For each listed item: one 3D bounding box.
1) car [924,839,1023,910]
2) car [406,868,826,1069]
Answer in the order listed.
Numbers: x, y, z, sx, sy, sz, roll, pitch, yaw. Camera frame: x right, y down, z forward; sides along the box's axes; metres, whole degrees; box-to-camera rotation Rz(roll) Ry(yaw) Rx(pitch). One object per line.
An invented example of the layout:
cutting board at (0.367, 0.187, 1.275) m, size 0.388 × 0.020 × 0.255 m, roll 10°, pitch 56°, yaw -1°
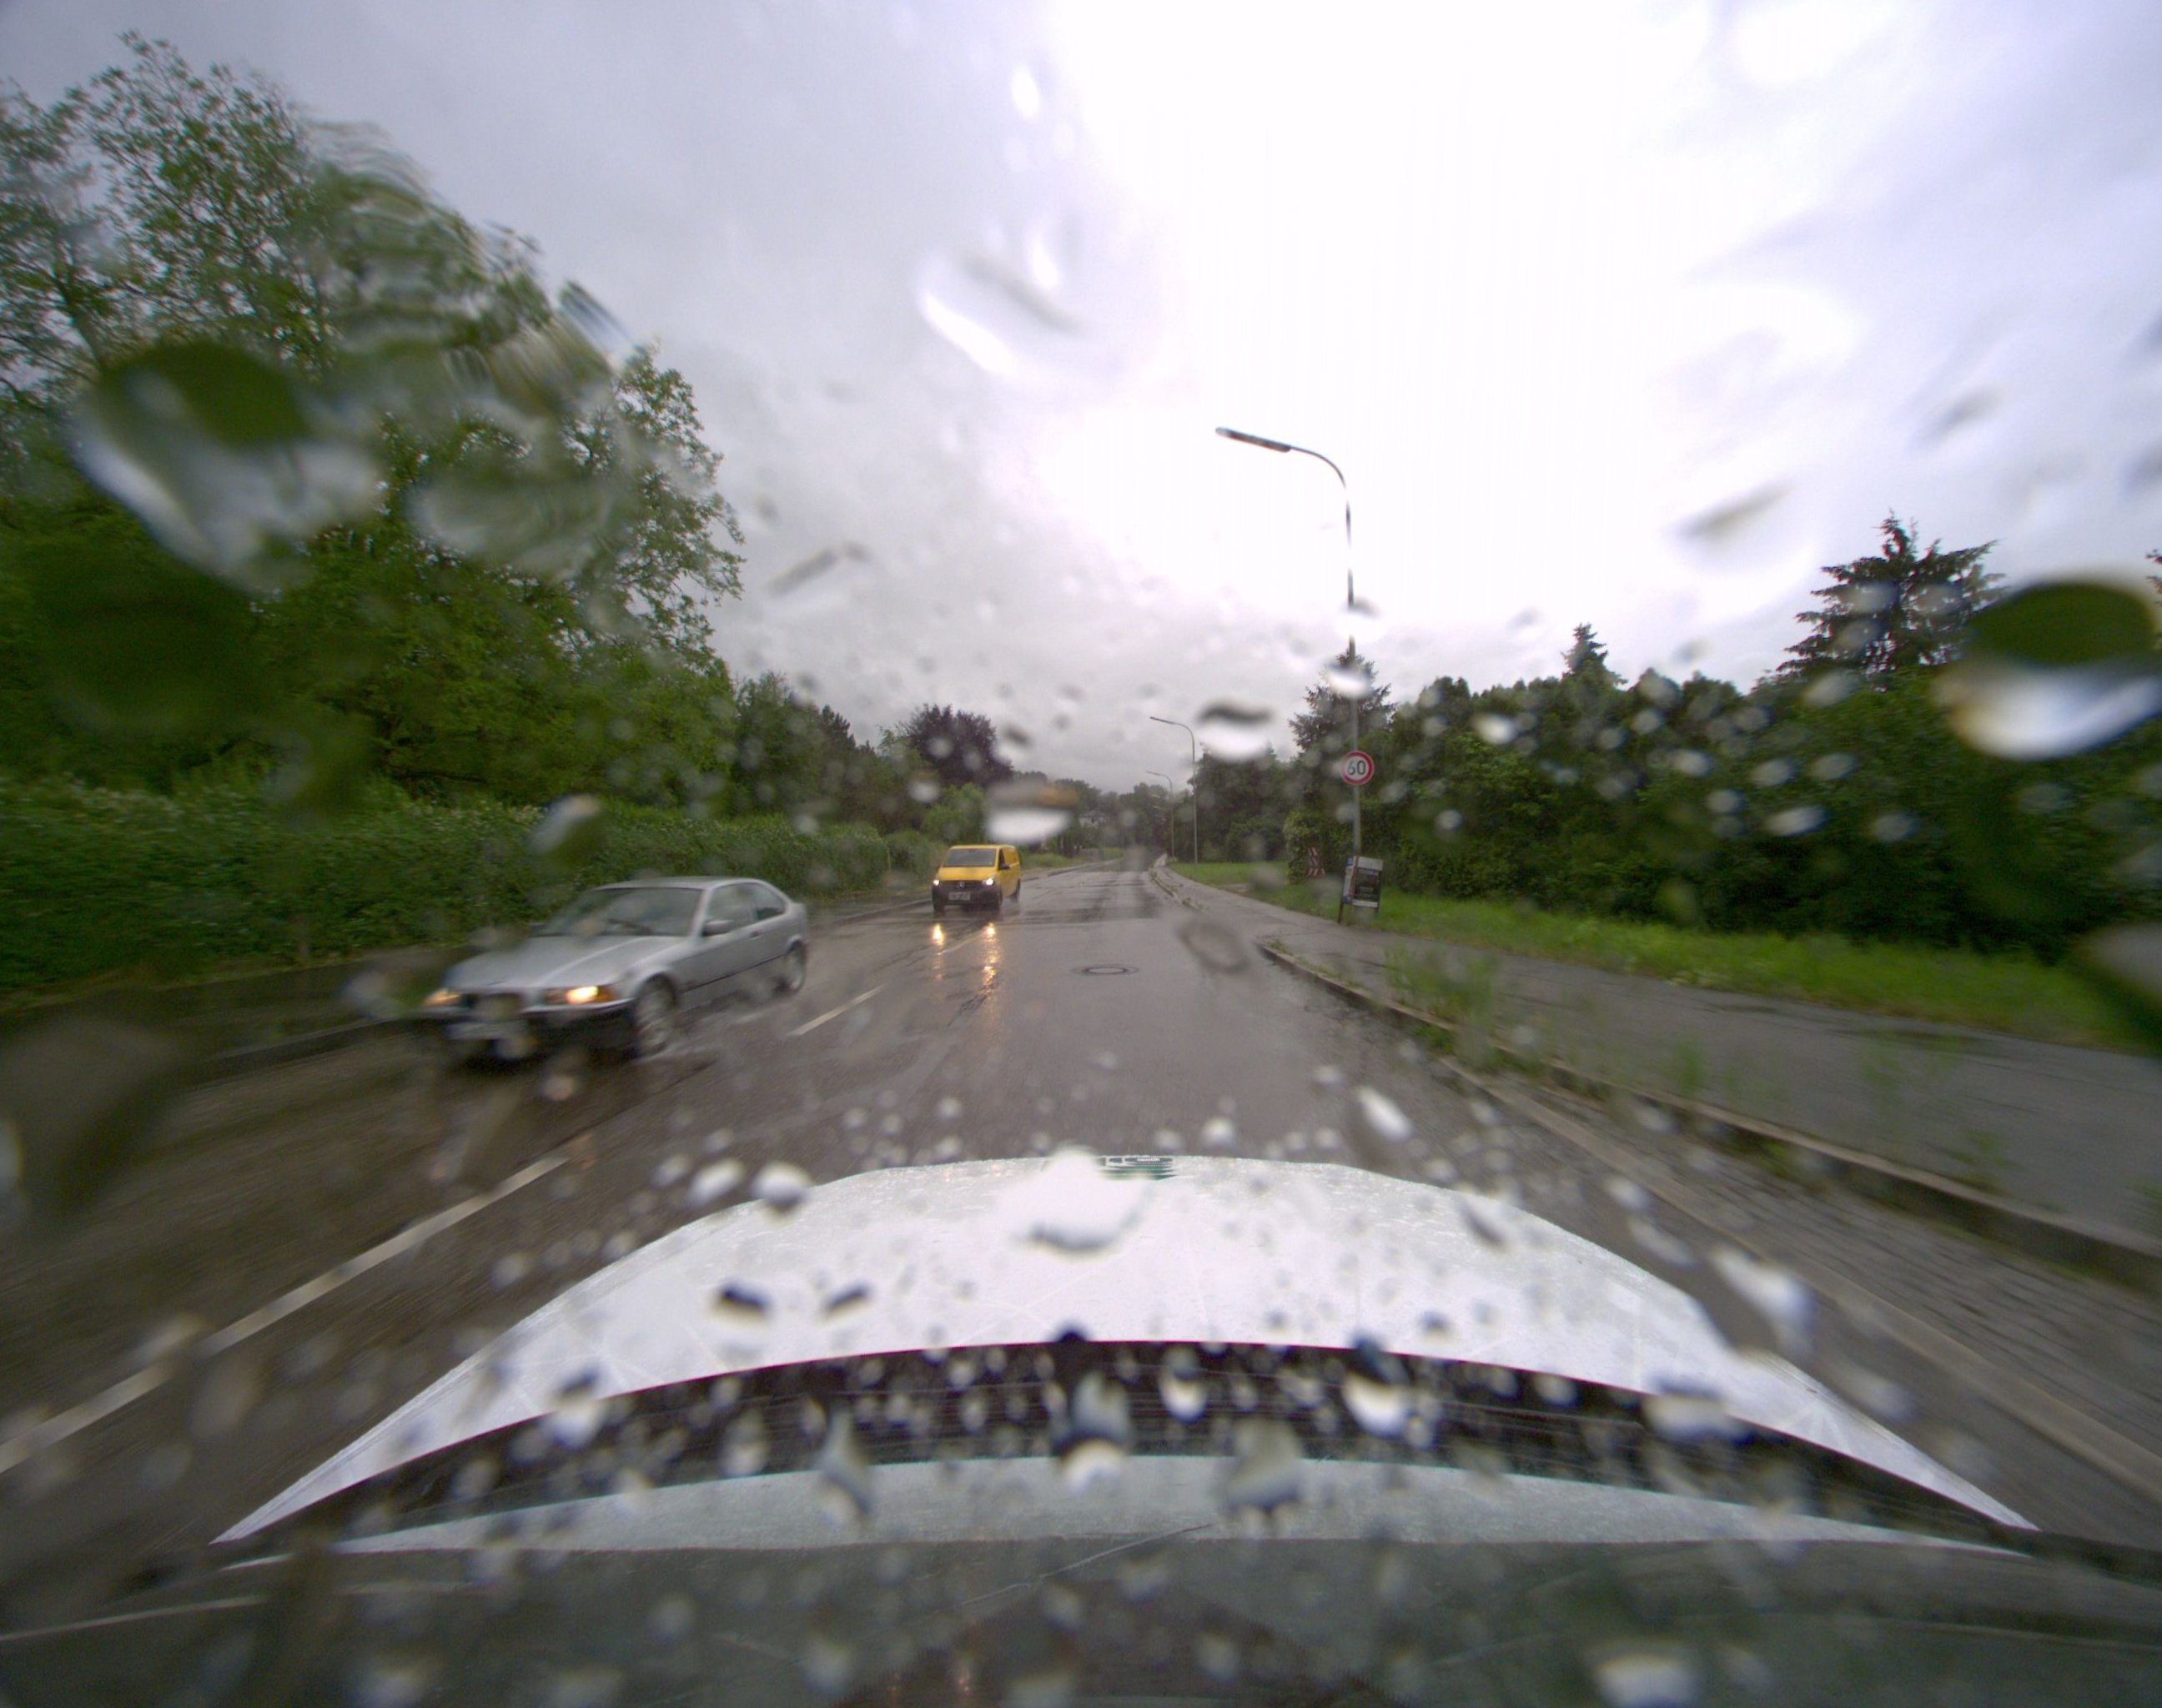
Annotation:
car at (-3.129, 0.558, 24.797) m, size 1.928 × 1.871 × 5.042 m, roll -2°, pitch 0°, yaw 4°
car at (-4.069, 0.887, 7.990) m, size 1.695 × 1.349 × 3.908 m, roll -2°, pitch 0°, yaw 2°
